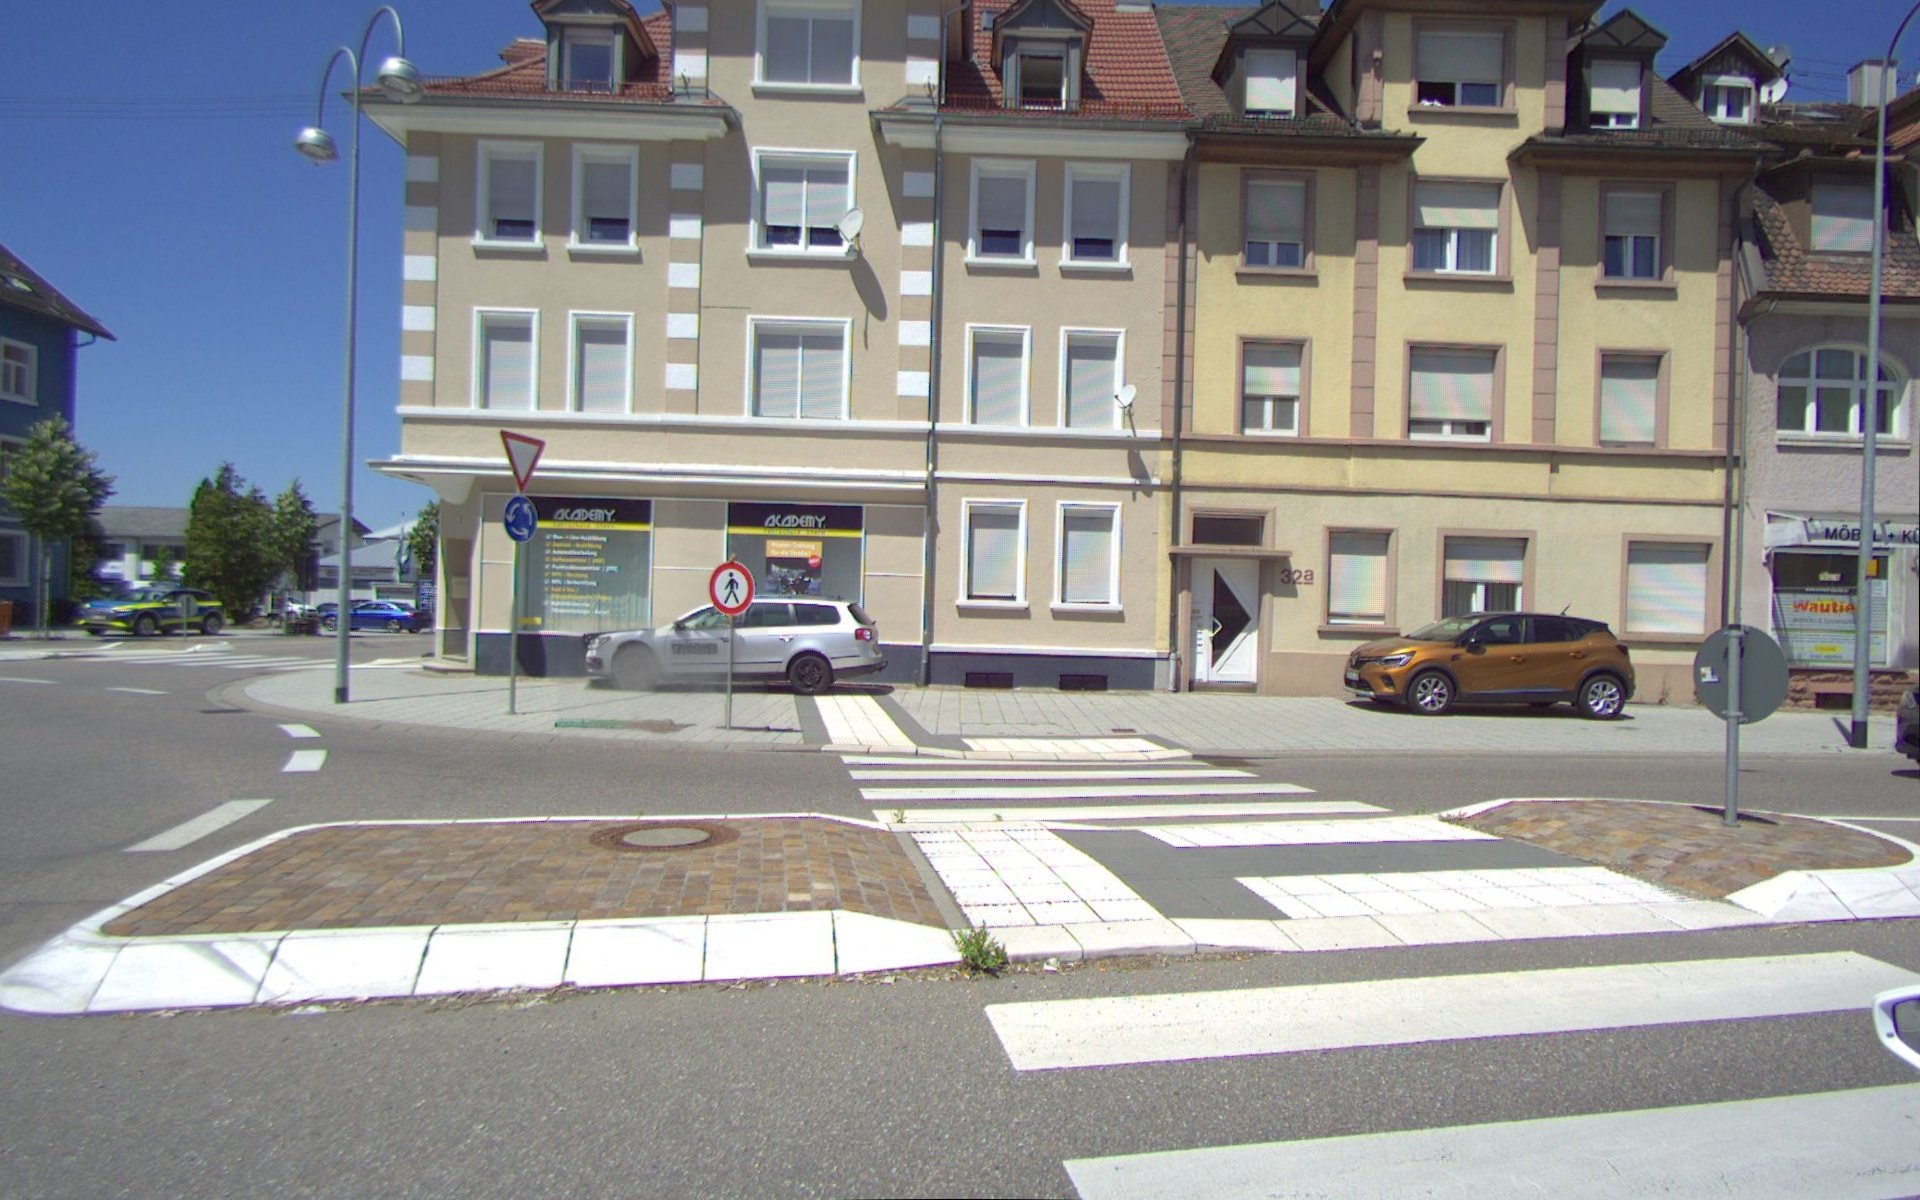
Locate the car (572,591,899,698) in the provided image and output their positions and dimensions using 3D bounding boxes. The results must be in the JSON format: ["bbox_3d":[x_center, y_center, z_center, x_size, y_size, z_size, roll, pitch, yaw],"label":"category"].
[{"bbox_3d":[-3.485,0.681,16.259,4.849,1.523,1.800,1,0,0],"label":"car"}]

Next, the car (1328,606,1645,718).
[{"bbox_3d":[8.171,0.933,15.848,4.034,1.562,1.800,1,1,-1],"label":"car"}]

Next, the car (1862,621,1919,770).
[{"bbox_3d":[11.939,1.041,10.122,4.307,1.508,1.801,2,-3,-5],"label":"car"}]

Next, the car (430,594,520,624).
[{"bbox_3d":[-26.764,0.522,55.517,3.920,1.483,2.001,2,-2,3],"label":"car"}]

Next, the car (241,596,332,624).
[{"bbox_3d":[-39.498,0.611,58.967,3.920,1.483,2.001,2,-2,3],"label":"car"}]

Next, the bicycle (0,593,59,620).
[{"bbox_3d":[-34.035,0.243,36.454,0.600,0.923,2.088,2,-1,6],"label":"bicycle"}]

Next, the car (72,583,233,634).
[{"bbox_3d":[-27.317,0.329,34.186,1.624,1.590,4.505,1,-1,3],"label":"car"}]

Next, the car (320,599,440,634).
[{"bbox_3d":[-26.246,0.765,45.566,4.199,1.416,1.999,2,-1,-3],"label":"car"}]
